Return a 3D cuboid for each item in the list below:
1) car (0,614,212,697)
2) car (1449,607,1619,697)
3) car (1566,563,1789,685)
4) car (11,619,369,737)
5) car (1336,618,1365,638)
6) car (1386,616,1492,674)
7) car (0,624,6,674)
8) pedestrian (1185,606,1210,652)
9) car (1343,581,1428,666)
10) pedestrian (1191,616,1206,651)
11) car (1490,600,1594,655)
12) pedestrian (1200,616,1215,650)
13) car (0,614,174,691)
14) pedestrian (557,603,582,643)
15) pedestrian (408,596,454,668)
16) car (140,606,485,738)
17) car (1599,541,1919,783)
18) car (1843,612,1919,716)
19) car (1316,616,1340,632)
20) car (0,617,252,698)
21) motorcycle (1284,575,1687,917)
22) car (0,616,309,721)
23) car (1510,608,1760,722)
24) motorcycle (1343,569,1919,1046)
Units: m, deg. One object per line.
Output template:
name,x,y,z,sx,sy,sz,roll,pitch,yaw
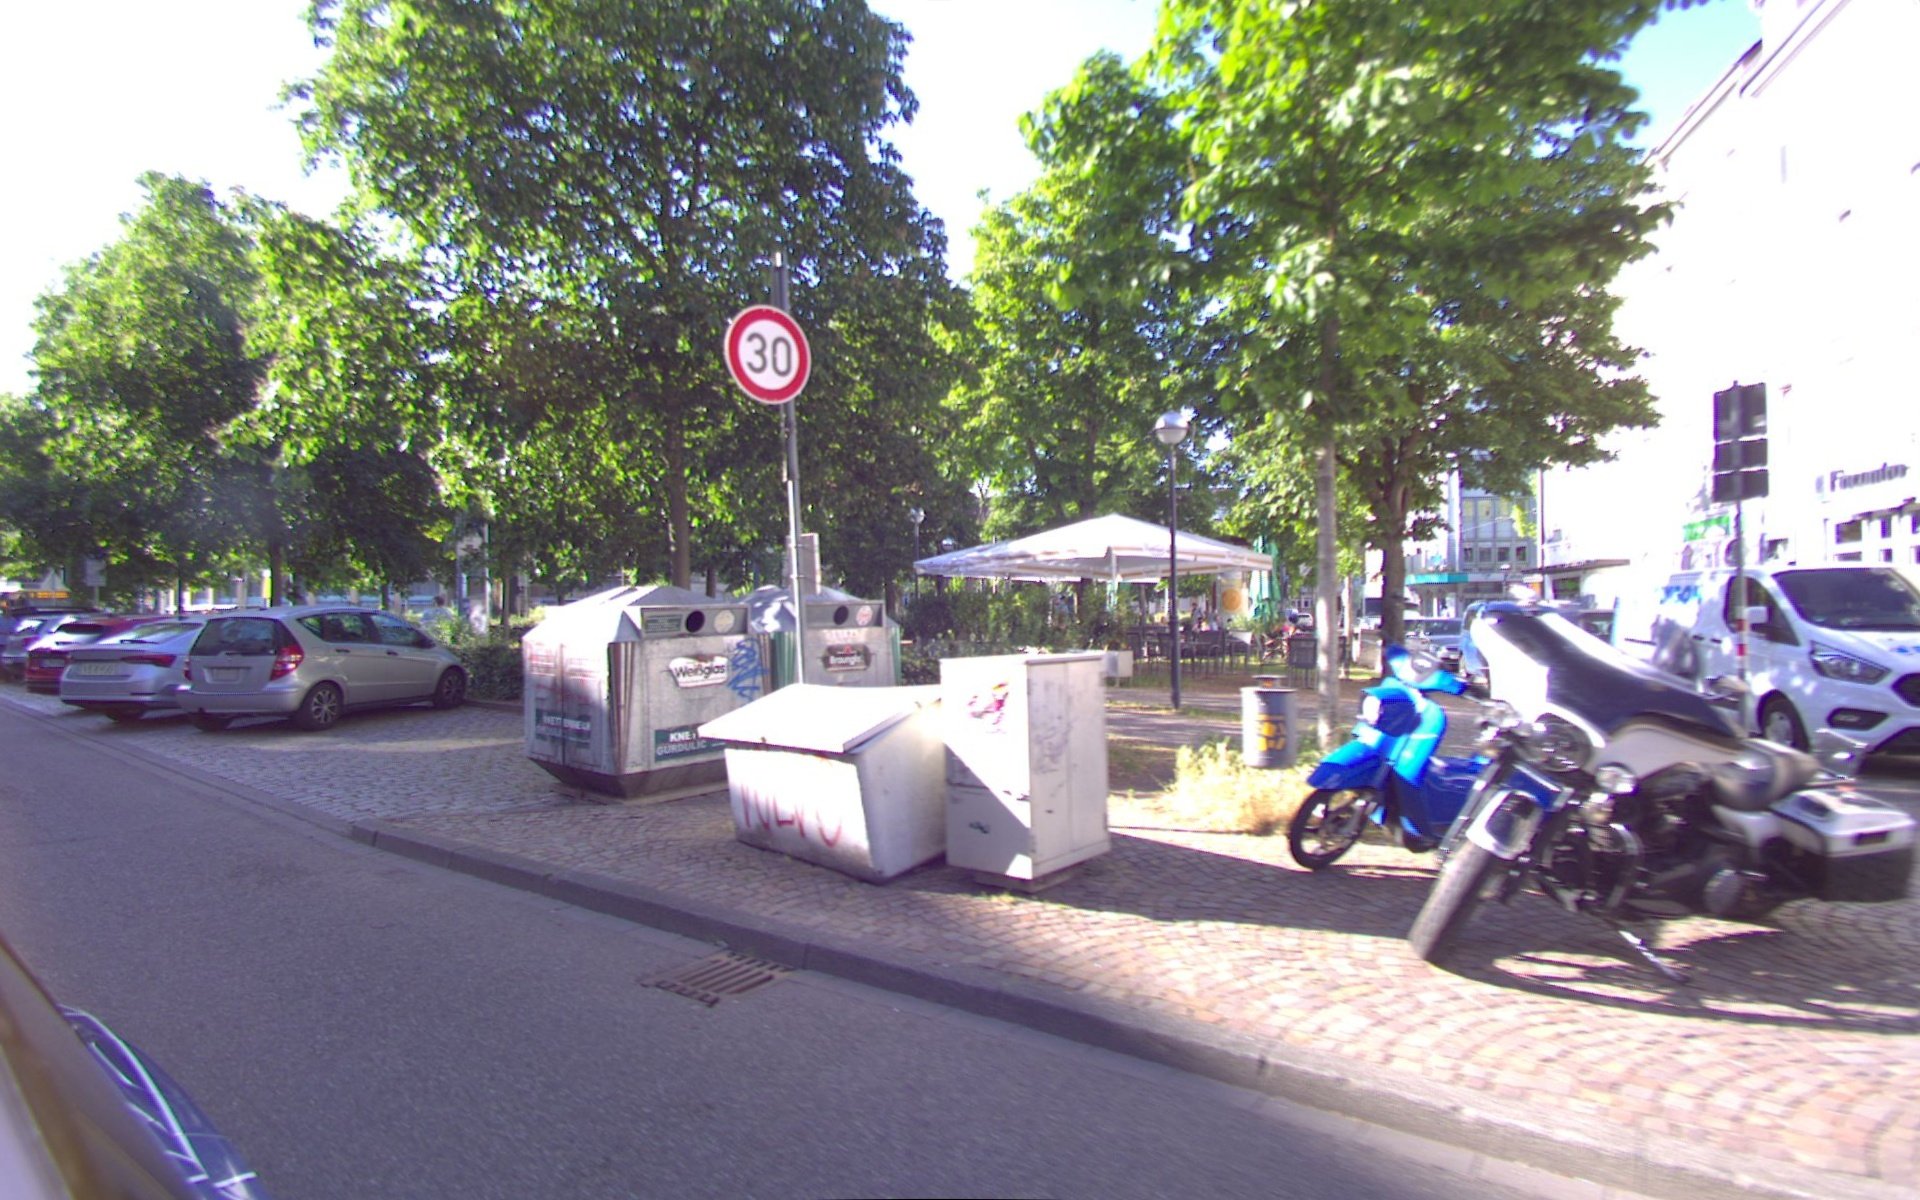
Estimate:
car,-19.857,1.174,23.129,2.087,1.657,3.974,1,0,20
car,11.475,1.011,20.570,1.910,1.625,4.132,-1,-2,14
car,18.253,0.655,26.331,2.192,2.722,6.988,-1,-2,14
car,-11.038,1.040,14.925,1.977,1.453,3.990,-1,-1,8
car,36.378,2.613,94.390,1.910,1.802,4.567,-1,-2,14
car,13.507,1.258,28.789,1.910,1.528,4.132,-1,-2,14
car,-27.819,1.409,27.622,1.745,1.440,4.012,-1,-1,-31
pedestrian,7.110,0.860,30.299,0.570,1.367,0.561,-1,-1,30
car,16.697,0.953,40.008,2.098,3.109,5.871,-1,-2,14
pedestrian,6.568,0.919,27.841,0.380,0.960,0.364,-1,-1,15
car,20.276,0.984,35.493,1.910,1.802,4.567,-1,-2,14
pedestrian,6.957,0.918,28.424,0.363,0.960,0.381,-1,-1,19
car,-22.003,1.216,24.734,1.985,1.706,3.973,-1,-1,20
pedestrian,-12.519,0.739,32.457,0.516,1.266,0.523,-1,-2,22
pedestrian,-9.472,0.575,18.138,0.520,1.266,0.519,0,-1,6
car,-8.776,0.883,14.197,1.977,1.574,3.990,-1,-1,8
car,8.927,0.566,10.651,2.054,1.959,5.305,-1,-2,14
car,15.003,0.922,14.381,1.910,1.528,4.361,-1,-2,15
car,40.610,2.669,111.798,1.910,1.802,4.567,-1,-2,14
car,-17.725,1.139,21.499,1.990,1.485,3.964,-1,-1,27
motorcycle,2.574,0.608,4.972,1.724,1.434,0.832,-1,-1,-24
car,-13.427,1.050,16.973,1.980,1.485,3.983,-1,-1,13
car,10.293,0.945,15.849,1.910,1.528,4.132,-1,-2,14
motorcycle,2.764,0.617,3.959,2.282,1.434,1.004,-1,-1,-23
